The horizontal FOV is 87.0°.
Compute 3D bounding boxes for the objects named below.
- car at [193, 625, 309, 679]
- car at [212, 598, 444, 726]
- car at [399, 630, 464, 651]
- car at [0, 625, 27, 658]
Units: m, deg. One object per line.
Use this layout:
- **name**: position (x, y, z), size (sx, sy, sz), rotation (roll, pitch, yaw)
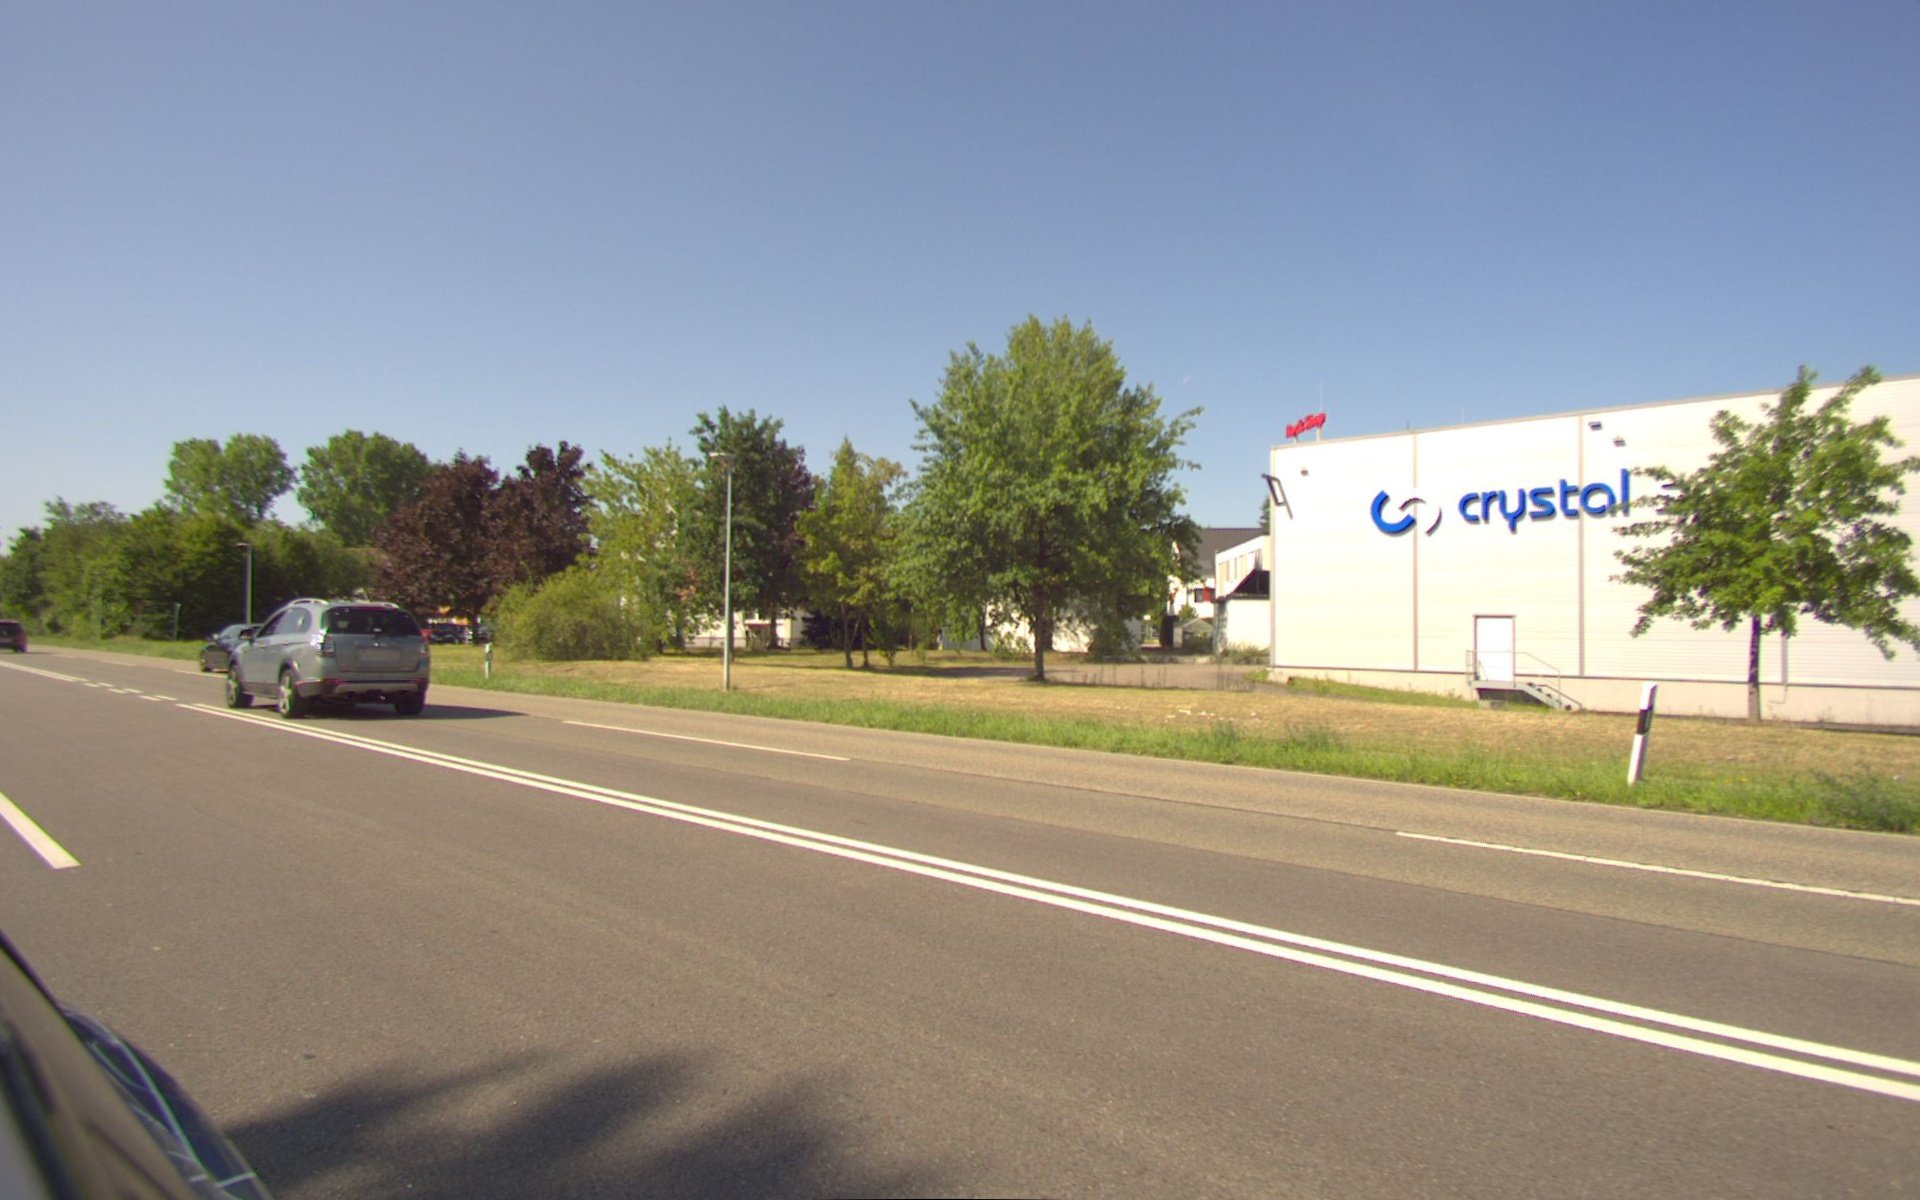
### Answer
- **car**: position (-21.063, 1.509, 29.992), size (4.737, 1.492, 1.635), rotation (-1, -4, 41)
- **car**: position (-10.016, 0.935, 15.903), size (4.566, 1.727, 1.753), rotation (-1, -4, 41)
- **car**: position (-35.288, 2.724, 67.668), size (1.803, 1.381, 3.986), rotation (-1, -3, 11)
- **car**: position (-46.027, 1.953, 48.342), size (3.841, 1.509, 1.633), rotation (-1, -5, 41)
